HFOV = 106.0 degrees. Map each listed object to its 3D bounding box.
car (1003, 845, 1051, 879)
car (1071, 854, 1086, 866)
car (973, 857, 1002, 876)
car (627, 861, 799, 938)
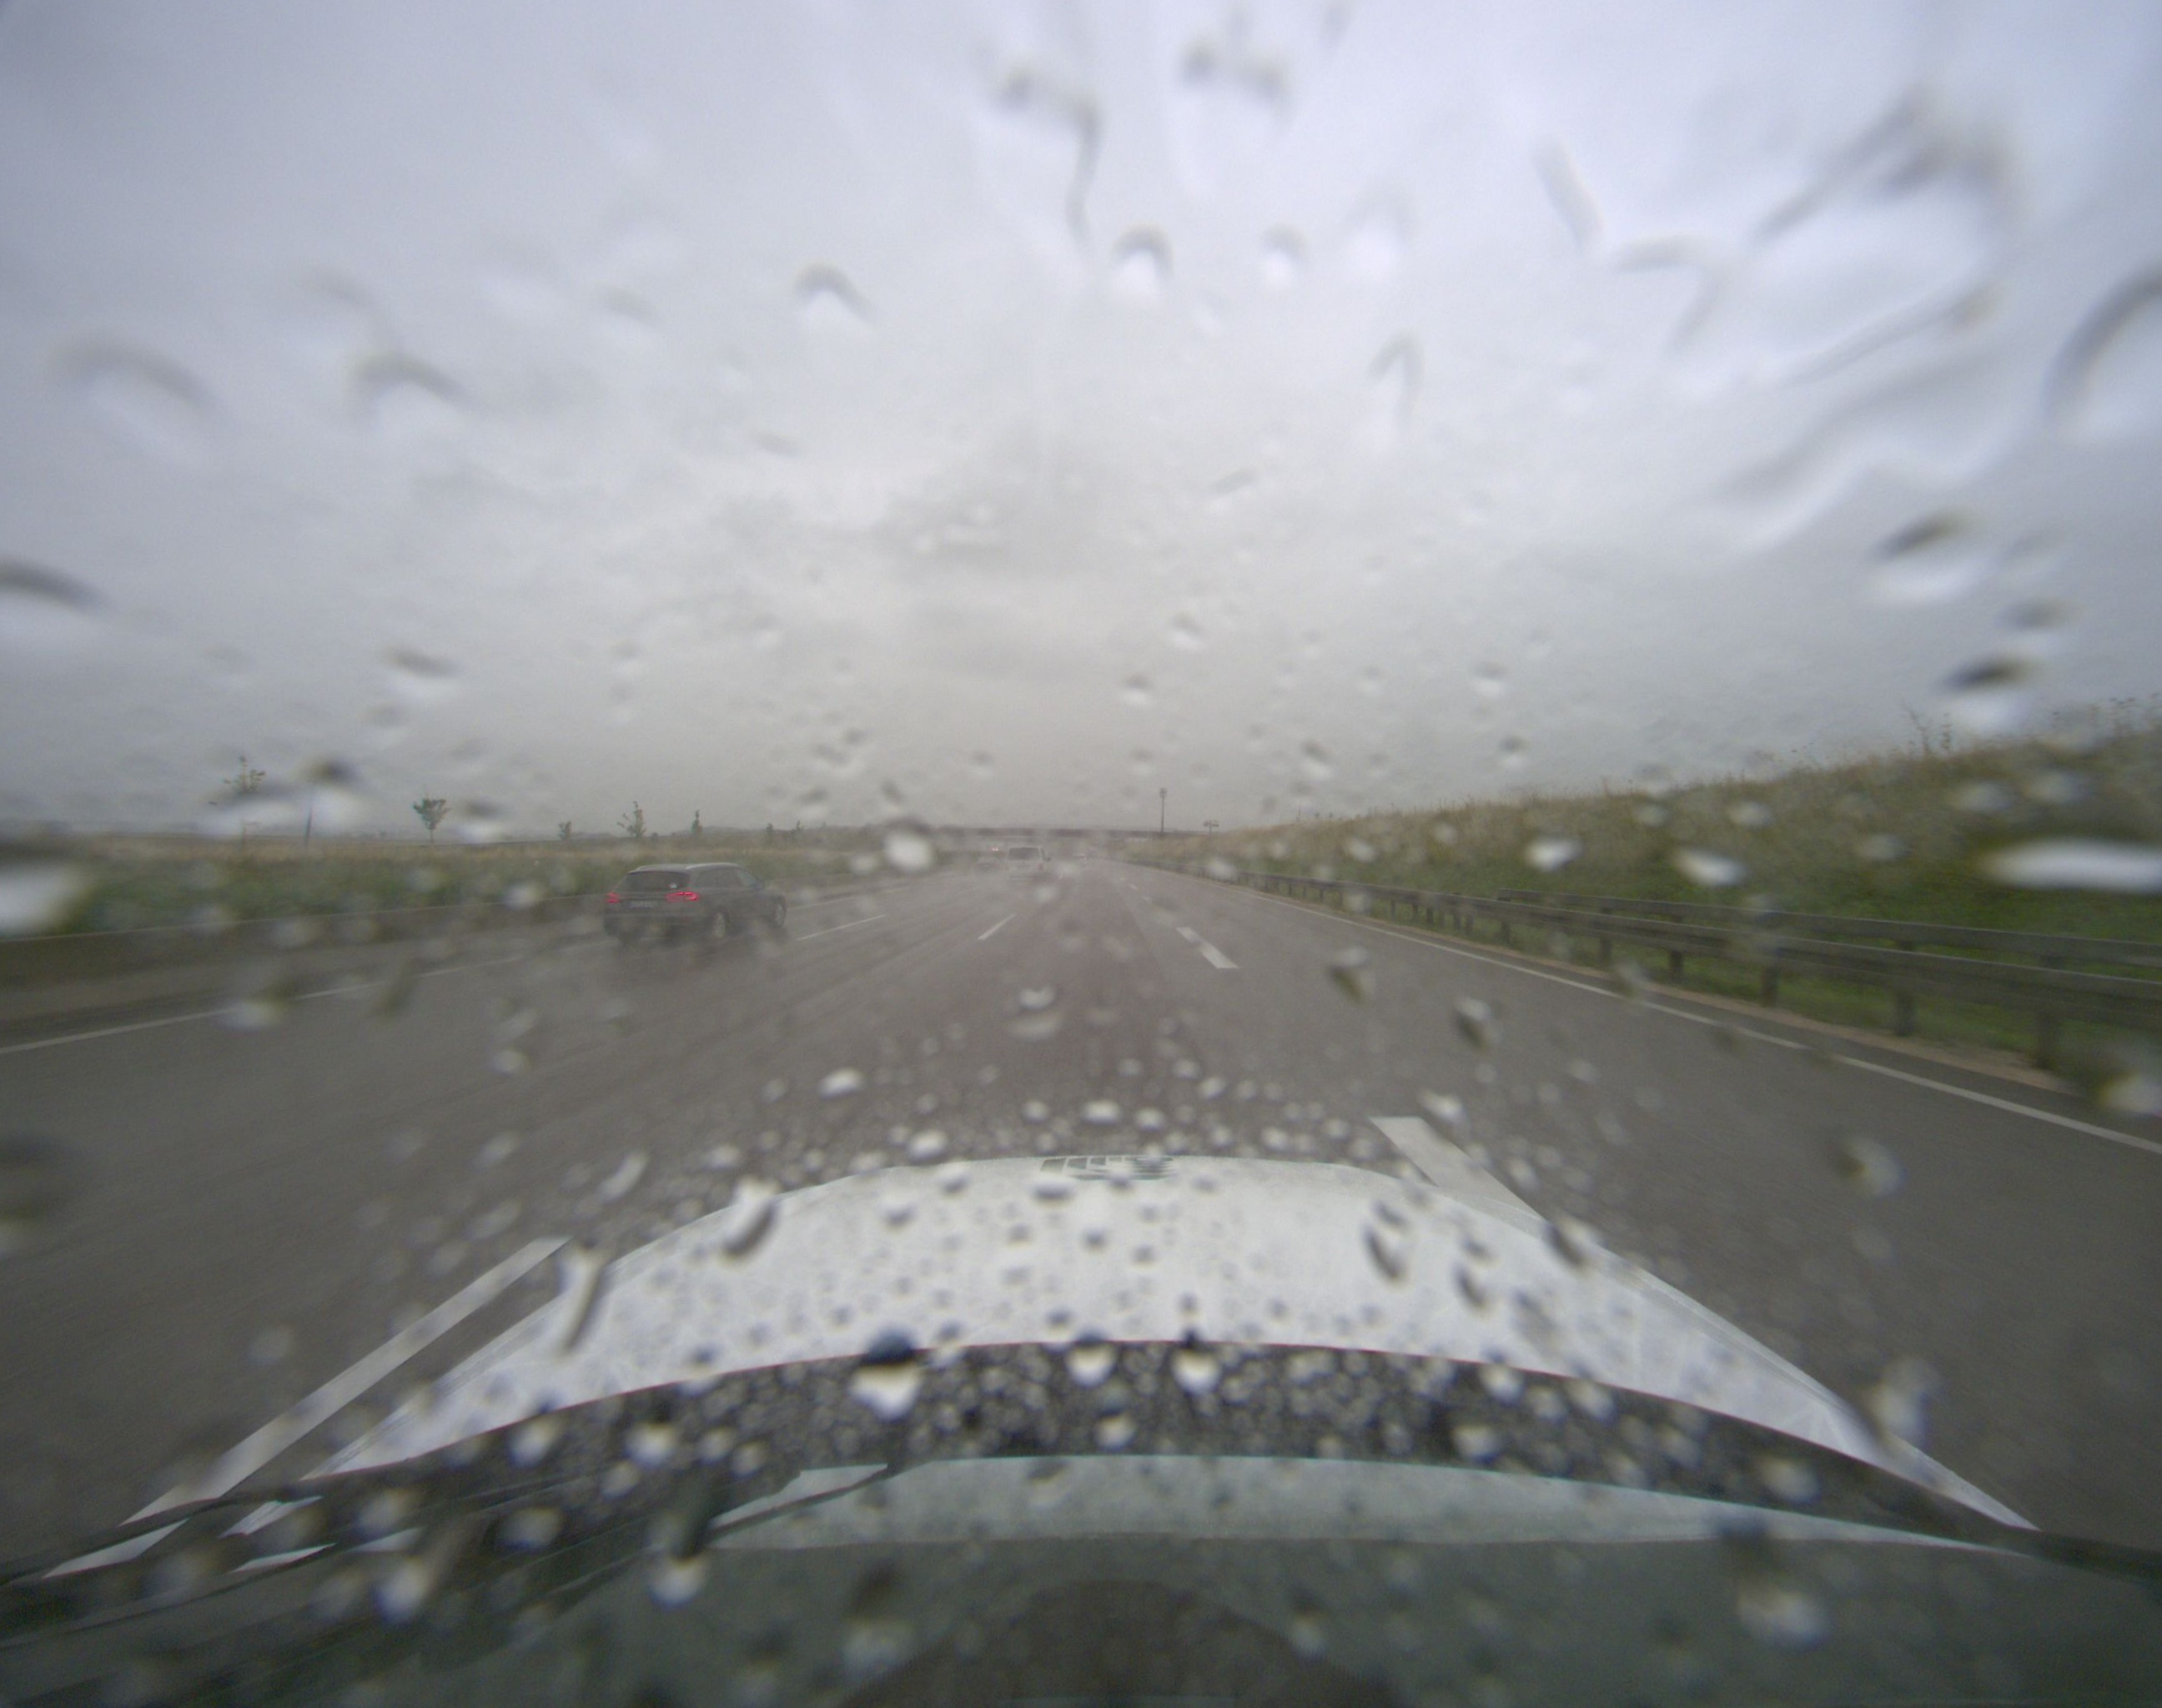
[{"bbox_3d":[-2.565,0.374,39.353,1.890,1.585,4.002,0,0,2],"label":"car"},{"bbox_3d":[-0.204,0.597,81.984,1.463,1.208,2.991,0,0,0],"label":"car"},{"bbox_3d":[-6.554,0.836,57.318,1.462,1.257,3.343,-1,0,3],"label":"car"},{"bbox_3d":[-7.416,0.851,16.871,1.606,1.354,4.002,-1,0,2],"label":"car"}]
